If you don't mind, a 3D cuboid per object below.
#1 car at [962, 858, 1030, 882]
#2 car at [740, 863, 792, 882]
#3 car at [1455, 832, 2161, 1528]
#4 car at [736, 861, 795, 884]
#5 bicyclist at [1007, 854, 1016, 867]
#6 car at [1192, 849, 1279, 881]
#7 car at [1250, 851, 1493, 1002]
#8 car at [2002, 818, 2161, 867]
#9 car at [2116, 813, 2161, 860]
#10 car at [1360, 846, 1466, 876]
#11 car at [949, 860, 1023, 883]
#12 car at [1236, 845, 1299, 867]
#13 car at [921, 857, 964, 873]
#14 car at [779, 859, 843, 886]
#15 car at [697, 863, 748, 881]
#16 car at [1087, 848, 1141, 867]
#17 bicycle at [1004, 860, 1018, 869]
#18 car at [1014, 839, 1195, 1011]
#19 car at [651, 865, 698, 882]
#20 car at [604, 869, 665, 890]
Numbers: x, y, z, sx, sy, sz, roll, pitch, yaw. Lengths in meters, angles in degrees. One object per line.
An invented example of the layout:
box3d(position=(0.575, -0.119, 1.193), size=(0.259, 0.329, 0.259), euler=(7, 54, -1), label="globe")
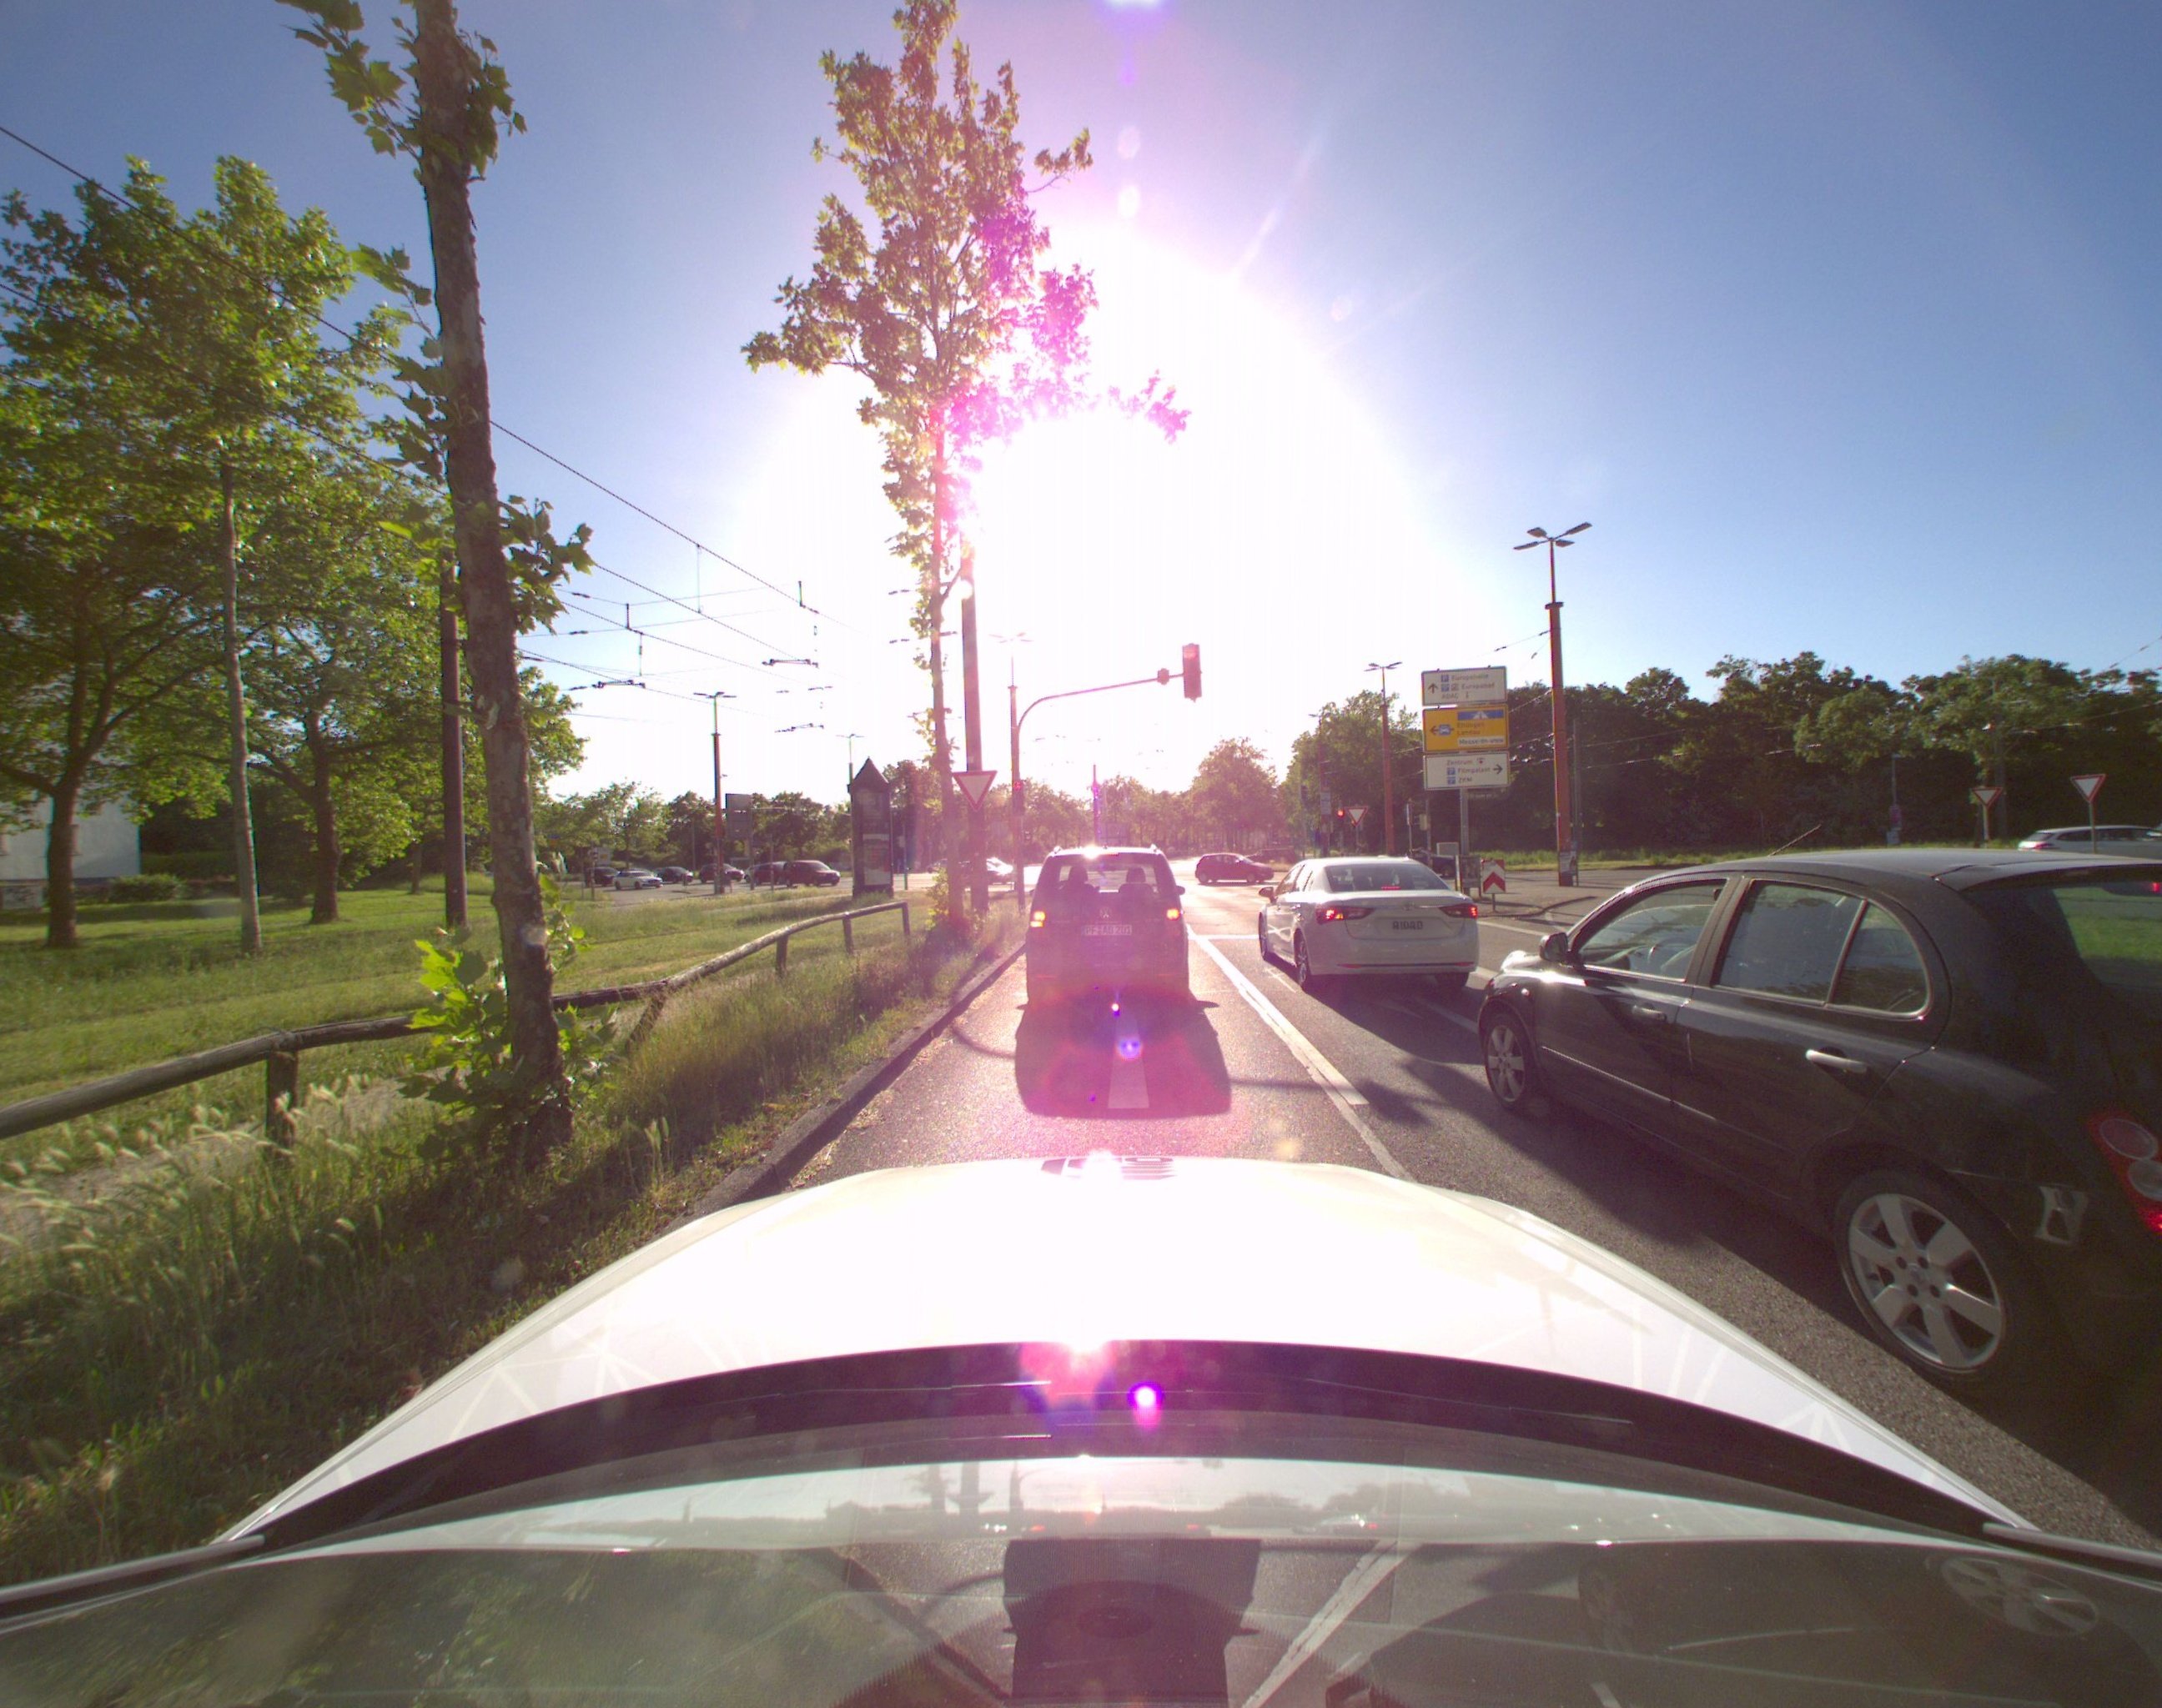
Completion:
box3d(position=(-5.622, 1.066, 53.587), size=(4.179, 1.479, 1.765), euler=(-2, 0, 32), label="car")
box3d(position=(-26.779, 1.590, 69.248), size=(4.169, 1.464, 1.926), euler=(-2, 0, 29), label="car")
box3d(position=(3.164, 0.694, 3.511), size=(1.550, 1.506, 3.517), euler=(-2, 0, 2), label="car")
box3d(position=(-24.875, 1.486, 64.130), size=(4.507, 1.668, 1.854), euler=(-2, 0, 30), label="car")
box3d(position=(-8.125, 0.759, 95.011), size=(0.686, 1.457, 0.879), euler=(-2, -1, 20), label="bicyclist")
box3d(position=(7.807, 0.578, 41.199), size=(3.949, 1.494, 1.782), euler=(-2, 0, 29), label="car")
box3d(position=(3.293, 0.719, 10.114), size=(1.708, 1.454, 4.147), euler=(-2, 0, 3), label="car")
box3d(position=(33.902, -0.378, 26.600), size=(4.709, 1.494, 1.782), euler=(-2, 0, 30), label="car")
box3d(position=(38.488, -0.645, 27.312), size=(4.309, 1.581, 1.782), euler=(-2, 0, 30), label="car")
box3d(position=(16.507, 0.351, 40.530), size=(4.608, 1.362, 1.782), euler=(-2, 0, 31), label="car")
box3d(position=(-5.764, 1.068, 49.290), size=(4.262, 1.327, 1.772), euler=(-2, 0, 31), label="car")
box3d(position=(14.727, 0.172, 64.270), size=(4.411, 1.596, 2.012), euler=(-2, 0, 28), label="car")
box3d(position=(-14.225, 1.117, 83.611), size=(3.949, 1.580, 2.012), euler=(-2, 0, 29), label="car")
box3d(position=(-18.881, 1.294, 56.969), size=(4.302, 1.732, 1.854), euler=(-2, 0, 30), label="car")
box3d(position=(-31.727, 1.568, 72.067), size=(4.318, 1.464, 1.926), euler=(-2, 0, 29), label="car")
box3d(position=(3.014, 0.287, 73.866), size=(4.411, 1.596, 2.012), euler=(-2, 0, 28), label="car")
box3d(position=(-8.156, 1.225, 94.790), size=(0.728, 1.090, 1.971), euler=(-2, 0, 21), label="bicycle")
box3d(position=(0.292, 0.696, 9.987), size=(1.731, 1.641, 4.002), euler=(-2, 0, 2), label="car")
box3d(position=(-37.362, 1.773, 74.836), size=(4.004, 1.464, 1.926), euler=(-2, 0, 28), label="car")
box3d(position=(-36.437, 2.095, 66.423), size=(4.867, 1.575, 2.012), euler=(-2, 0, 29), label="car")
